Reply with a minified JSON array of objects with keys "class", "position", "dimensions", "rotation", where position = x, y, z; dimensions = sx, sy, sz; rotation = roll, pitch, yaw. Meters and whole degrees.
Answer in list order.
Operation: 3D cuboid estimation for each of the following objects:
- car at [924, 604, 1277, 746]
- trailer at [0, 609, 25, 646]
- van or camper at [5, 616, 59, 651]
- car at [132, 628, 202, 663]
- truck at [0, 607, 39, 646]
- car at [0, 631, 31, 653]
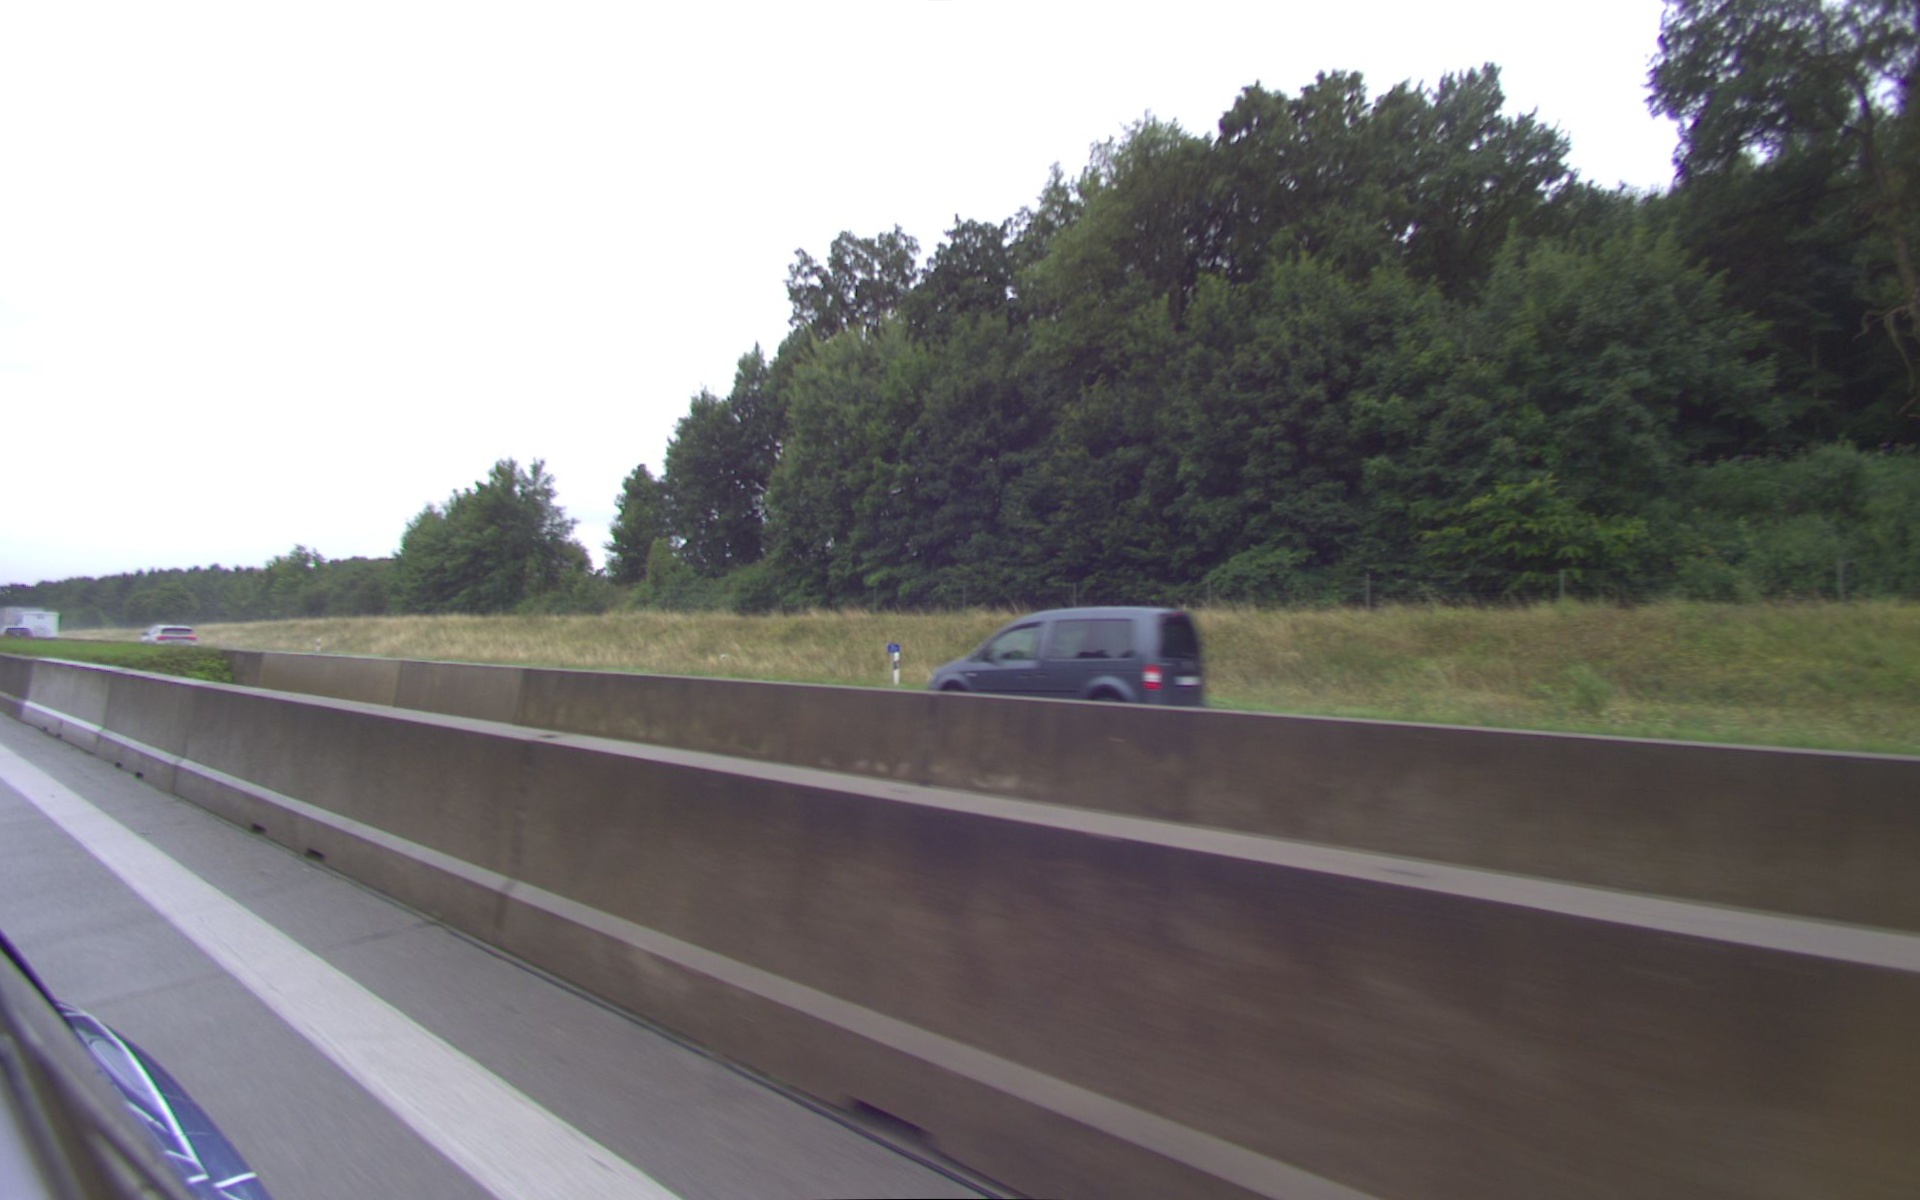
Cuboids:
[{"class":"car","position":[1.835,0.942,14.255],"dimensions":[4.685,1.678,1.860],"rotation":[-1,-3,41]},{"class":"trailer","position":[-113.017,3.310,119.363],"dimensions":[10.366,4.078,2.560],"rotation":[-2,-5,40]},{"class":"van or camper","position":[-77.749,2.781,84.755],"dimensions":[7.710,2.756,2.387],"rotation":[-1,-3,41]},{"class":"car","position":[-39.307,2.226,50.107],"dimensions":[4.685,1.678,1.860],"rotation":[-1,-3,41]},{"class":"truck","position":[-105.731,3.027,113.282],"dimensions":[8.584,4.172,2.558],"rotation":[-2,-4,40]},{"class":"car","position":[-61.089,2.690,64.966],"dimensions":[4.097,1.344,1.720],"rotation":[-2,-3,41]}]
